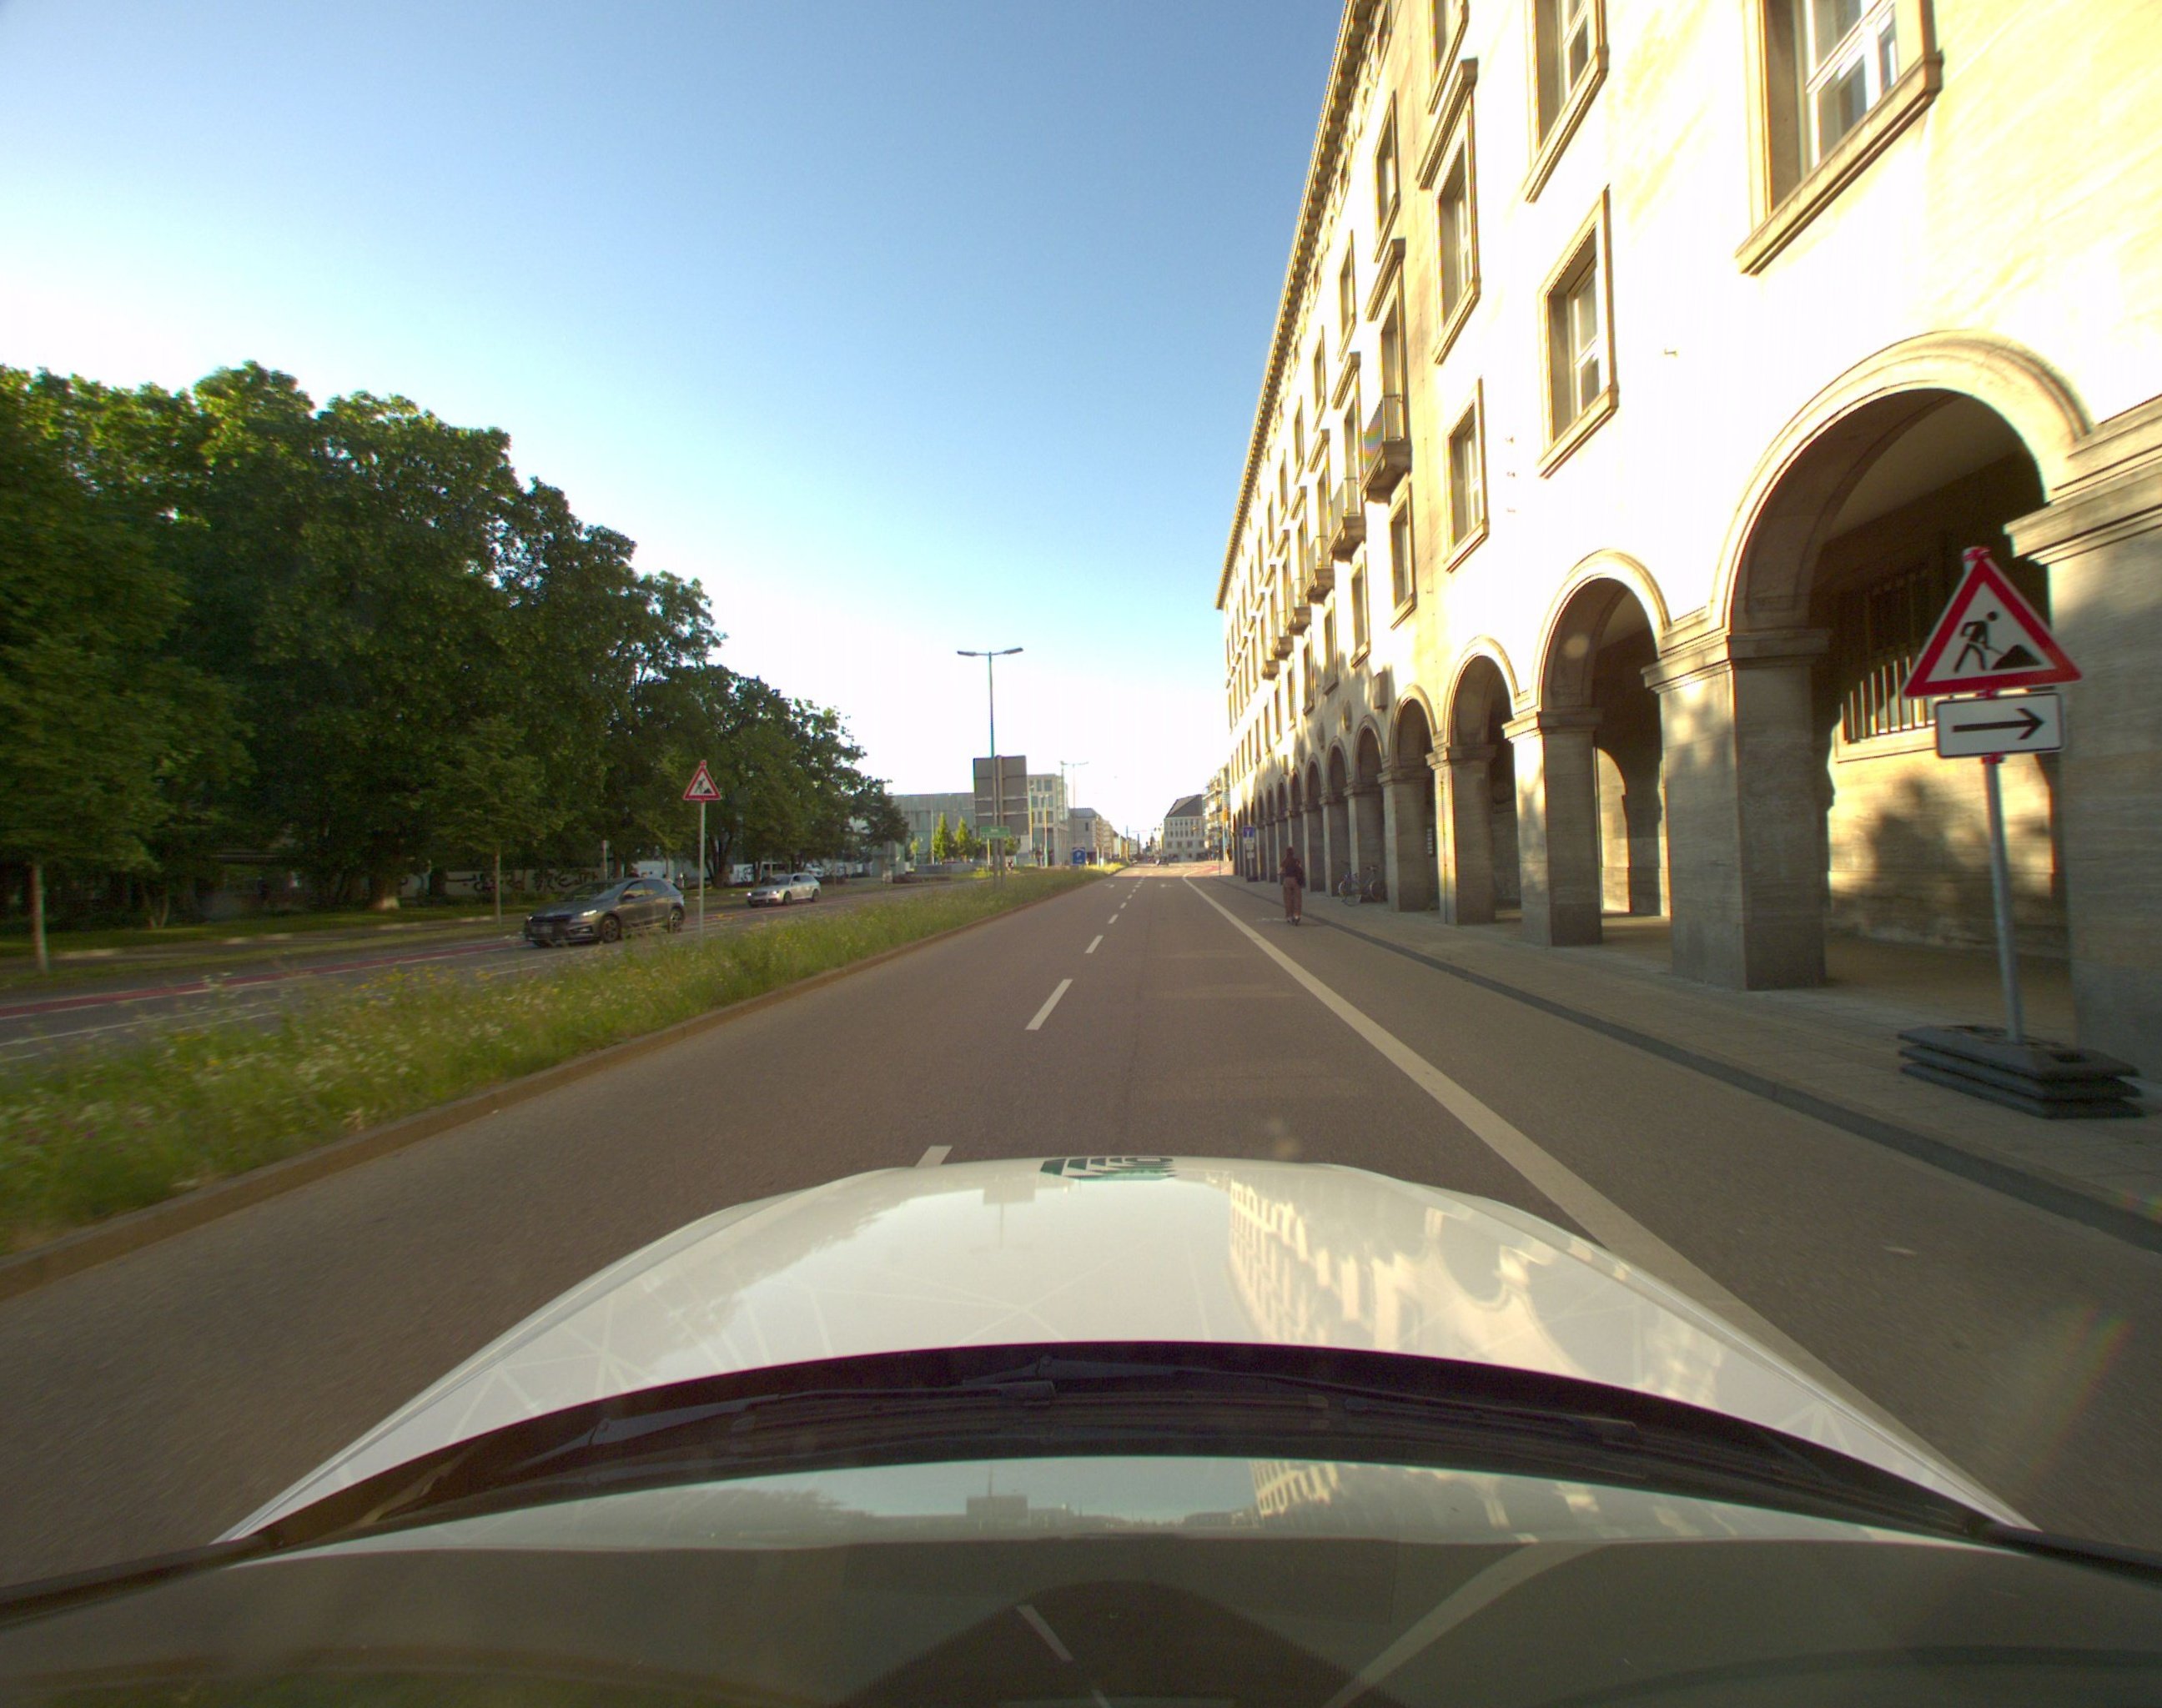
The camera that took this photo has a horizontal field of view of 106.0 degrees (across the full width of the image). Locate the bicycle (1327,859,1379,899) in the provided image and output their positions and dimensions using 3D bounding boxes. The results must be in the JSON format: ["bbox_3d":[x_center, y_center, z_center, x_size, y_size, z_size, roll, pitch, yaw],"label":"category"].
[{"bbox_3d":[7.946,0.729,23.779,1.723,1.050,0.605,-3,-1,-42],"label":"bicycle"}]

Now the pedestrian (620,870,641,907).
[{"bbox_3d":[-21.407,1.637,38.695,0.521,1.740,0.656,-2,-1,9],"label":"pedestrian"}]

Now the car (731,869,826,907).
[{"bbox_3d":[-13.765,1.517,37.359,1.921,1.526,4.601,-2,0,11],"label":"car"}]

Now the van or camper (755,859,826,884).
[{"bbox_3d":[-26.541,1.596,74.548,5.633,2.014,2.261,-3,-2,6],"label":"van or camper"}]

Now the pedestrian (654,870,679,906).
[{"bbox_3d":[-19.589,1.595,38.476,0.738,1.641,0.728,-2,-1,9],"label":"pedestrian"}]

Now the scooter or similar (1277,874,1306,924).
[{"bbox_3d":[4.714,0.994,18.285,0.551,1.031,1.121,-2,-1,13],"label":"scooter or similar"}]

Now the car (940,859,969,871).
[{"bbox_3d":[-21.222,1.878,136.761,4.628,1.810,1.870,-2,-2,-3],"label":"car"}]

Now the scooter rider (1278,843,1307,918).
[{"bbox_3d":[4.757,0.586,18.371,0.557,1.632,0.652,-2,-1,13],"label":"scooter rider"}]

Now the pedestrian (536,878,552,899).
[{"bbox_3d":[-43.834,2.799,66.456,0.719,1.641,0.747,-2,-1,11],"label":"pedestrian"}]

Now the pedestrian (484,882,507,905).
[{"bbox_3d":[-39.662,2.667,55.167,0.899,1.540,0.894,-2,-1,-2],"label":"pedestrian"}]

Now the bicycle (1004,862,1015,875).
[{"bbox_3d":[-7.423,1.474,84.649,0.754,1.275,2.263,-2,1,6],"label":"bicycle"}]

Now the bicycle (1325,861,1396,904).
[{"bbox_3d":[7.506,0.758,21.877,1.708,1.050,0.526,-4,-1,-10],"label":"bicycle"}]

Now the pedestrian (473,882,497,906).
[{"bbox_3d":[-39.688,2.631,54.195,0.899,1.540,0.894,-2,-1,-2],"label":"pedestrian"}]

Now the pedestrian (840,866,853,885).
[{"bbox_3d":[-19.311,1.745,66.983,0.609,1.527,0.945,-2,0,11],"label":"pedestrian"}]

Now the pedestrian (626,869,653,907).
[{"bbox_3d":[-20.827,1.579,38.452,0.767,1.740,0.762,-2,-1,9],"label":"pedestrian"}]

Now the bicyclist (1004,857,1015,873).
[{"bbox_3d":[-7.431,1.111,84.731,0.743,1.590,1.204,-3,1,6],"label":"bicyclist"}]

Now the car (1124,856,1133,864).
[{"bbox_3d":[11.218,1.346,191.126,1.984,1.742,4.654,-2,1,5],"label":"car"}]

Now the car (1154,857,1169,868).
[{"bbox_3d":[11.446,1.221,116.134,1.770,1.564,3.789,-2,-1,1],"label":"car"}]

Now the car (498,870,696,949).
[{"bbox_3d":[-11.303,1.226,19.410,1.984,1.564,4.067,-2,0,6],"label":"car"}]
